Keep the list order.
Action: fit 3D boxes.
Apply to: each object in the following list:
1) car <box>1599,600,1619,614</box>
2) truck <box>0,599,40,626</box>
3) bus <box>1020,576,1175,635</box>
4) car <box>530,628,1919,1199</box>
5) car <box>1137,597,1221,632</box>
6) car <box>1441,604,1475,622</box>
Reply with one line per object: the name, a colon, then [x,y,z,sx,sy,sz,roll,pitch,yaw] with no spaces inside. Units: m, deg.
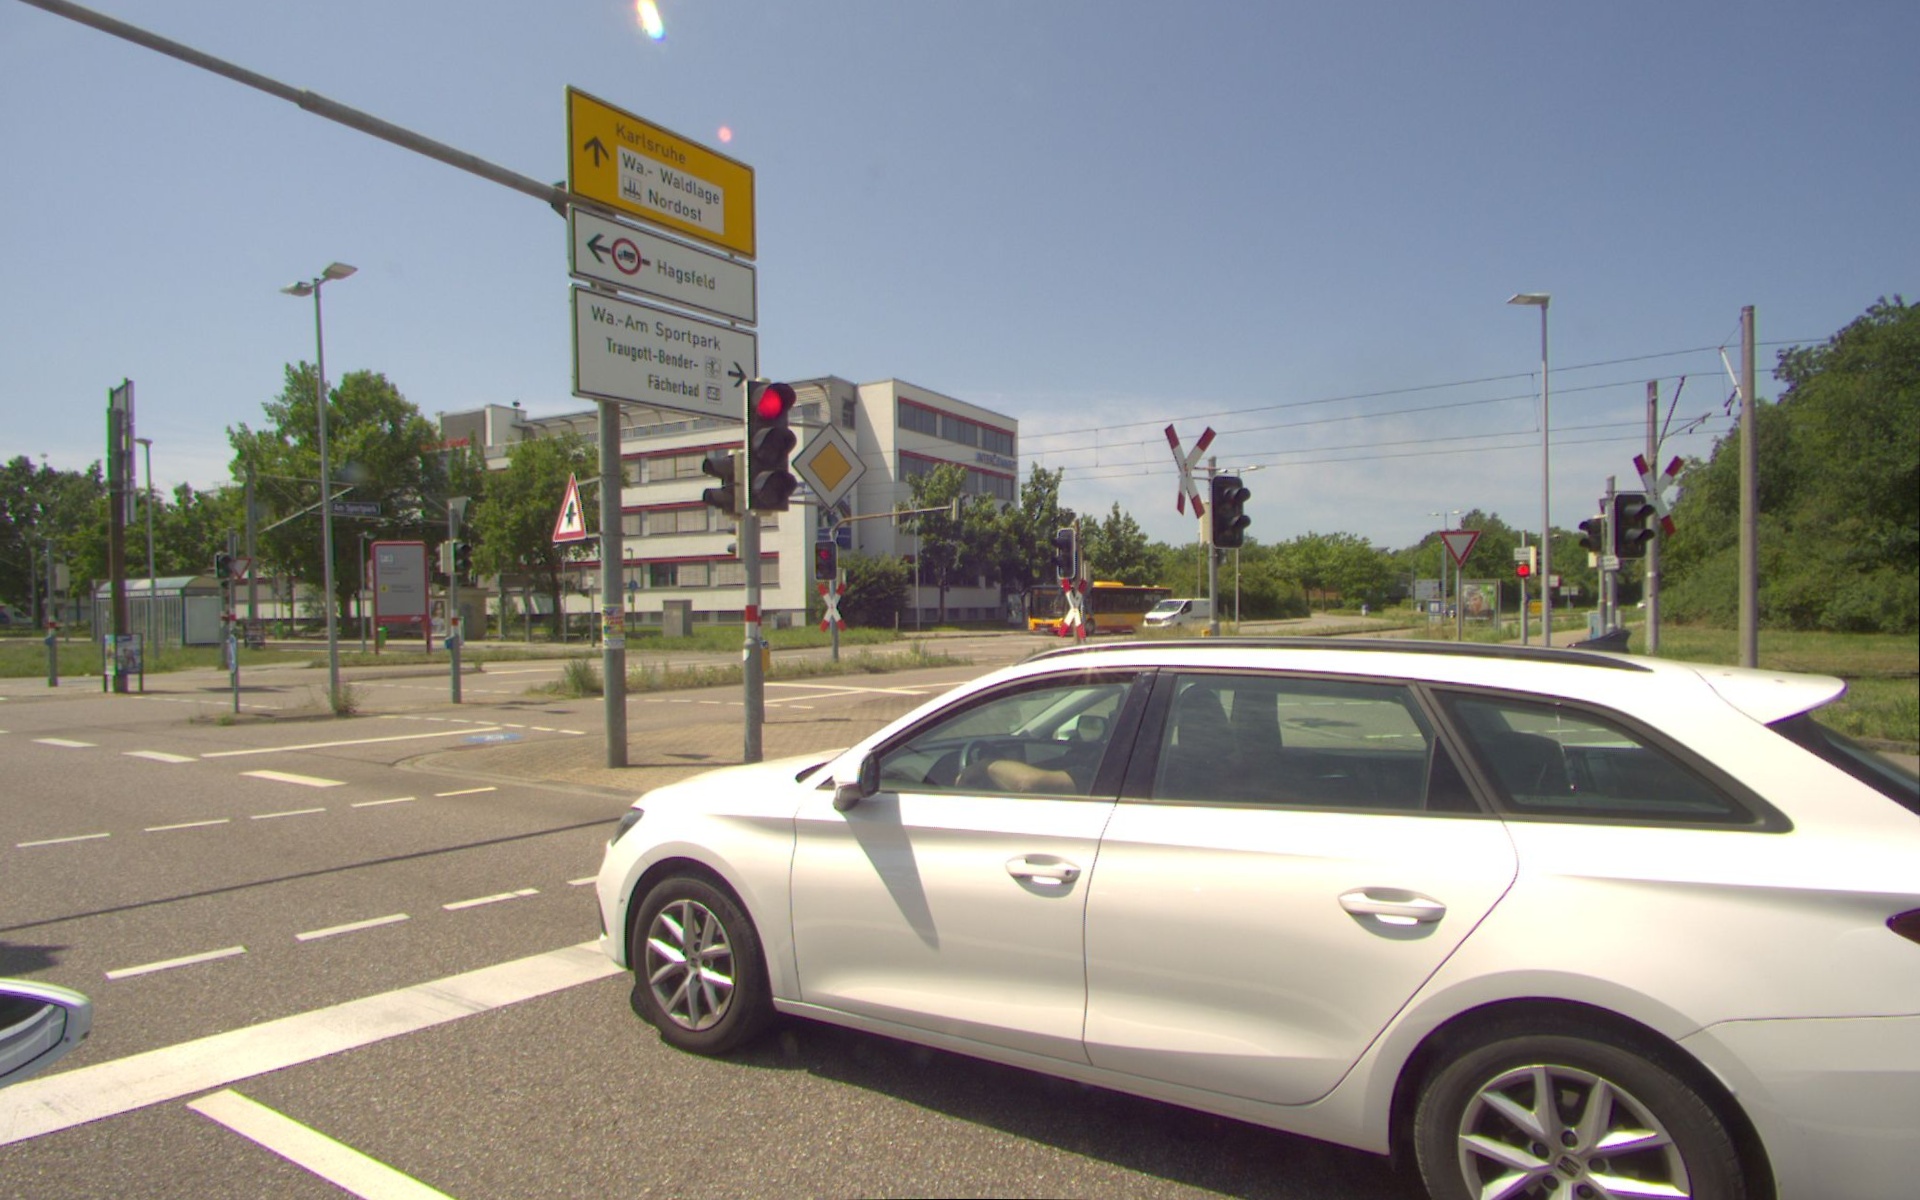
car: [87.545,0.917,135.056,1.976,1.813,3.970,0,-1,39]
truck: [-104.754,1.398,109.344,2.283,2.881,5.837,-1,1,26]
bus: [8.392,0.426,59.227,2.808,3.159,11.977,-2,-2,42]
car: [0.648,0.821,3.483,4.384,1.408,1.680,-1,-1,30]
car: [11.685,0.832,53.188,5.021,1.750,1.811,2,-2,-43]
car: [45.513,1.179,91.446,1.656,1.601,3.965,1,0,43]
